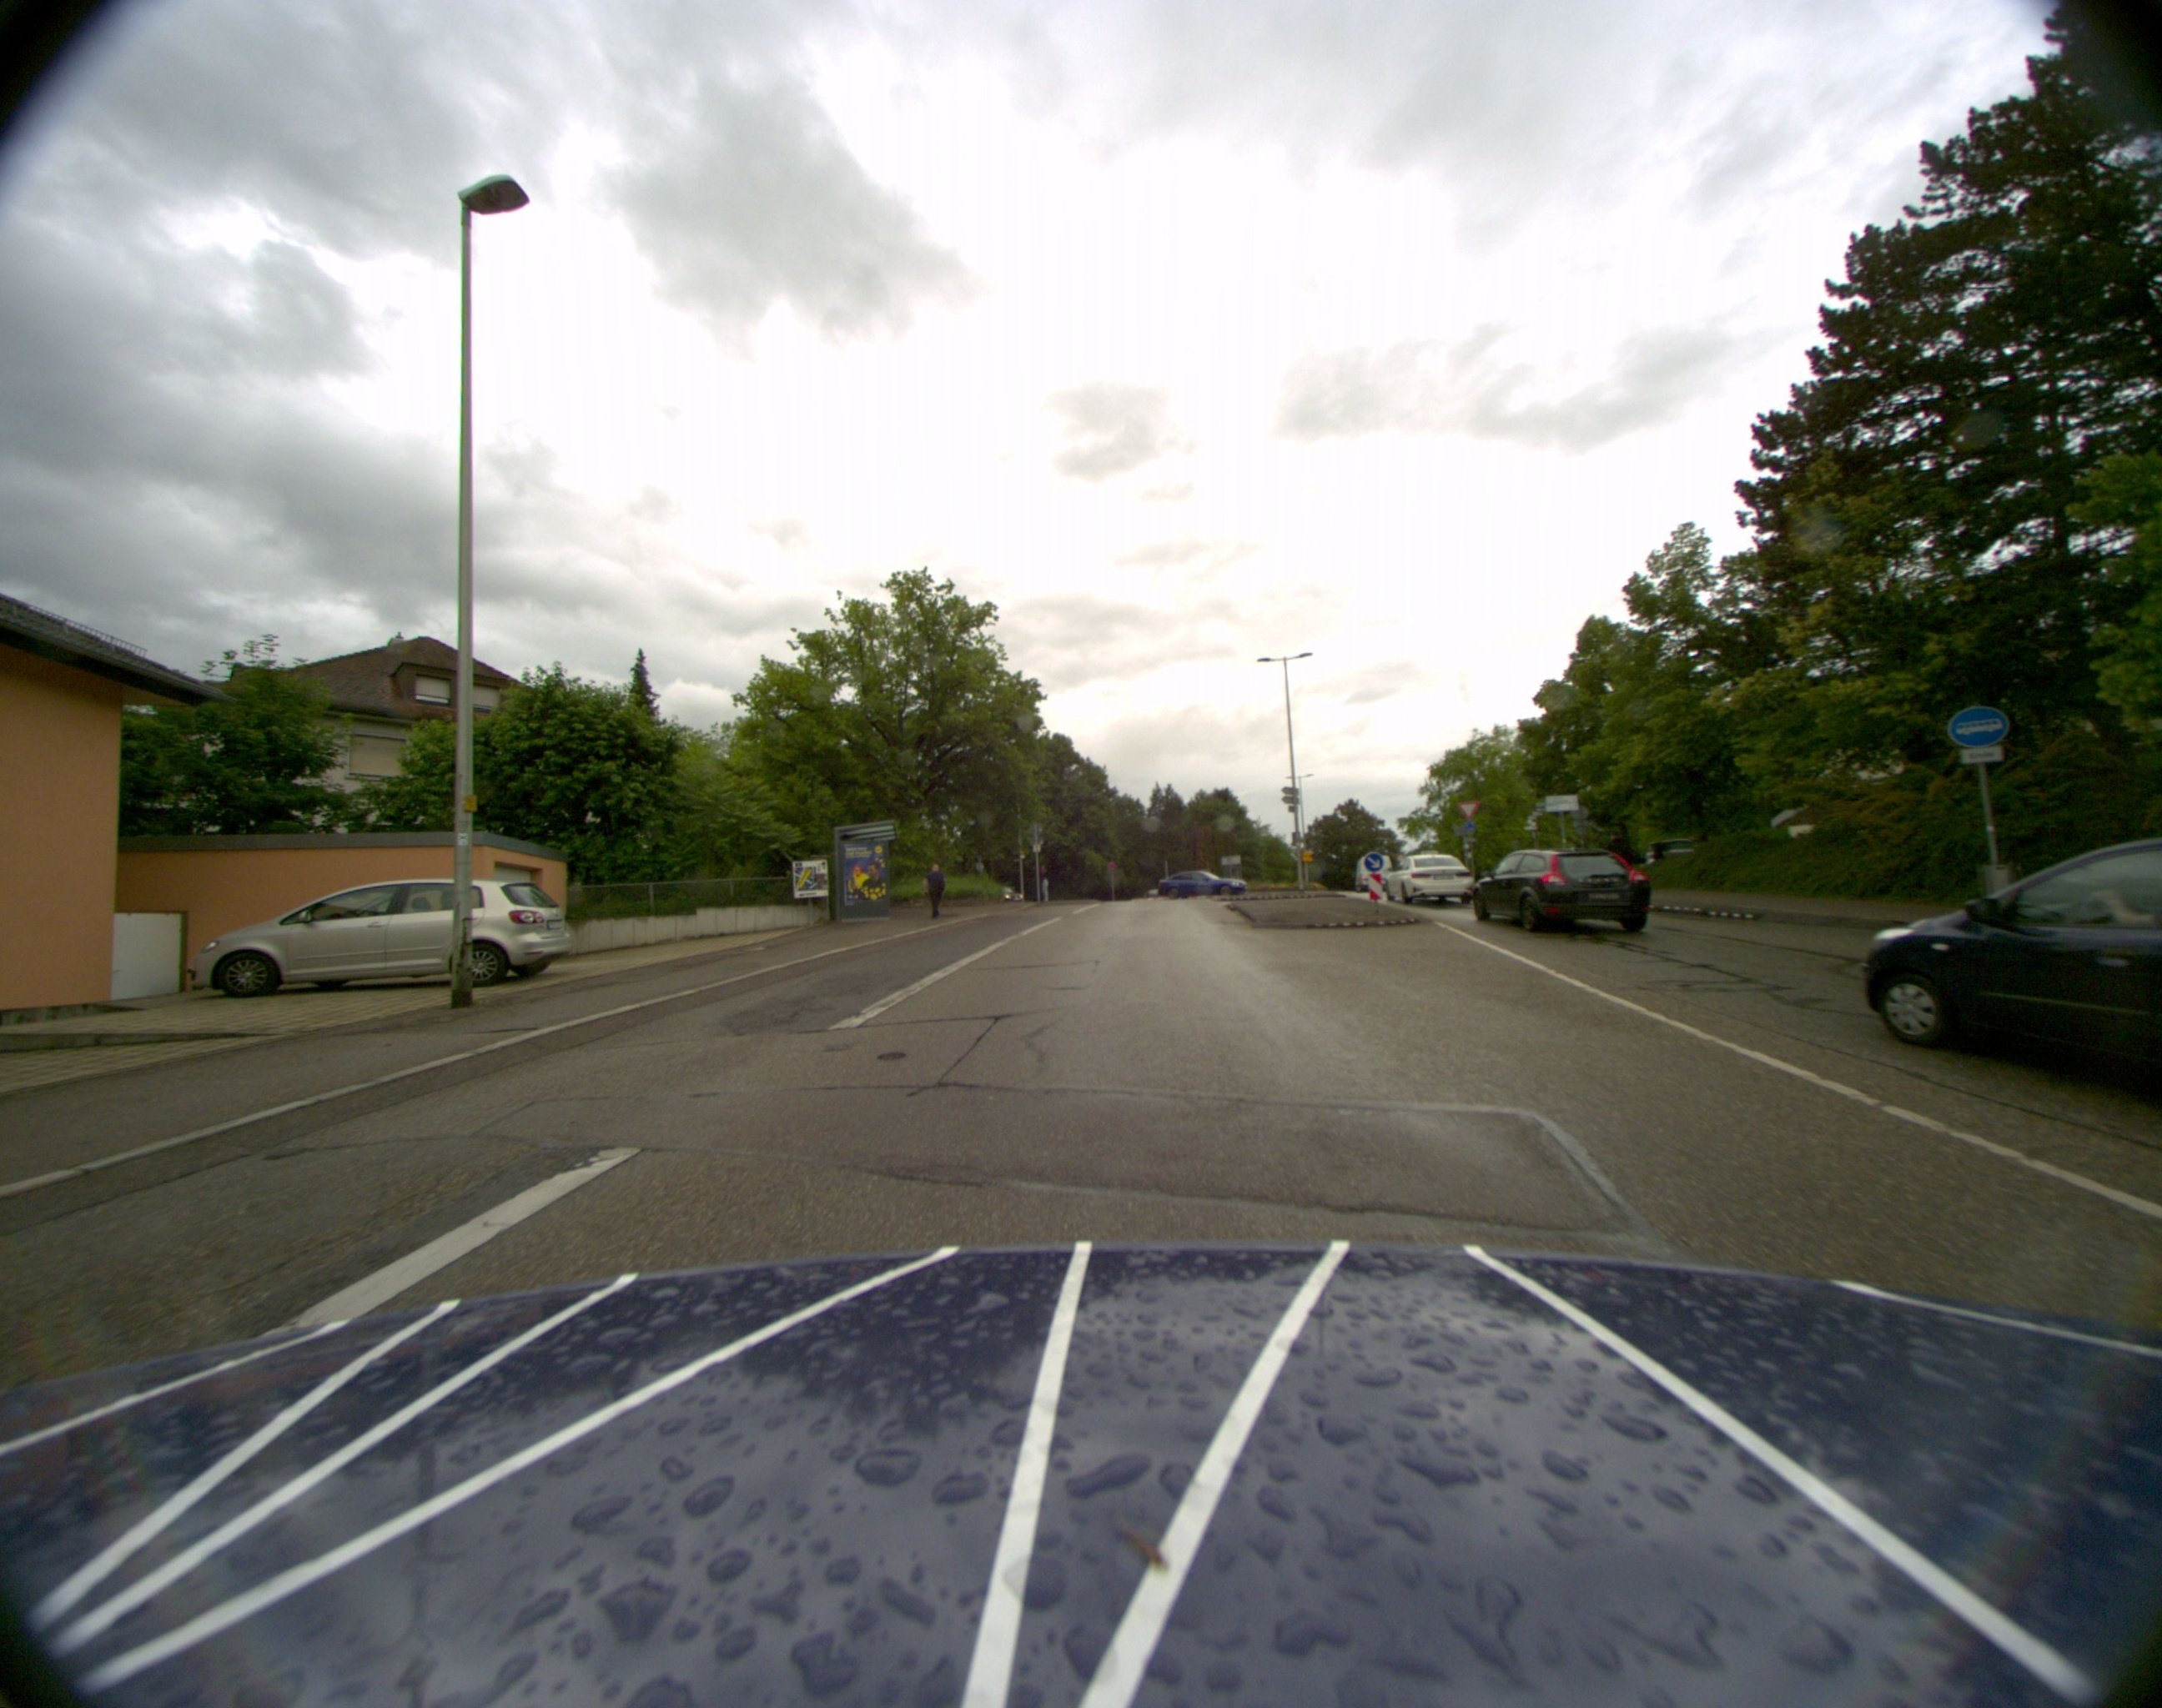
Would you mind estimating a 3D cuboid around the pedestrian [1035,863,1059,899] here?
[{"bbox_3d":[-1.581,1.272,35.515,0.723,1.645,0.821,-2,-1,44],"label":"pedestrian"}]

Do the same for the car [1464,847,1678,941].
[{"bbox_3d":[8.679,0.637,13.966,1.794,1.438,4.407,-1,0,11],"label":"car"}]

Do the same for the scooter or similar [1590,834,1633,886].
[{"bbox_3d":[15.696,0.188,22.521,0.510,1.507,1.319,-2,-1,10],"label":"scooter or similar"}]

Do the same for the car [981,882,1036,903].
[{"bbox_3d":[-5.441,2.880,56.480,1.867,1.406,4.375,0,-3,-39],"label":"car"}]

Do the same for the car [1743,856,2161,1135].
[{"bbox_3d":[6.603,0.745,4.565,1.725,1.455,4.380,-2,-1,6],"label":"car"}]

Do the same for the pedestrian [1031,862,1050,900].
[{"bbox_3d":[-1.844,1.235,34.722,0.725,1.722,0.820,-2,-1,6],"label":"pedestrian"}]

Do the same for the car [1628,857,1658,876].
[{"bbox_3d":[49.580,1.078,67.086,1.693,1.604,4.346,-2,-1,30],"label":"car"}]

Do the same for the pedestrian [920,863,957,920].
[{"bbox_3d":[-4.312,1.125,23.072,0.928,1.645,1.098,-1,-1,-5],"label":"pedestrian"}]

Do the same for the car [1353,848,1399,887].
[{"bbox_3d":[20.057,0.999,51.869,2.171,2.399,5.405,-1,-3,14],"label":"car"}]

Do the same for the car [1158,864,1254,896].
[{"bbox_3d":[6.634,1.399,40.530,4.659,1.428,1.767,-4,-3,30],"label":"car"}]

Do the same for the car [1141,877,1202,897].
[{"bbox_3d":[7.130,2.596,60.045,4.389,1.406,1.861,-1,-3,-19],"label":"car"}]

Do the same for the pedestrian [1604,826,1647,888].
[{"bbox_3d":[16.083,0.095,22.477,0.704,1.796,0.826,-2,-1,10],"label":"pedestrian"}]

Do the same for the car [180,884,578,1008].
[{"bbox_3d":[-9.880,1.228,11.097,3.873,1.556,1.725,1,-2,-17],"label":"car"}]

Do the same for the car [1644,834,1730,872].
[{"bbox_3d":[26.674,-0.027,33.567,2.816,1.532,1.701,-2,-1,35],"label":"car"}]

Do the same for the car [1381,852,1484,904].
[{"bbox_3d":[10.613,0.687,23.308,1.831,1.393,4.826,-2,-1,12],"label":"car"}]
